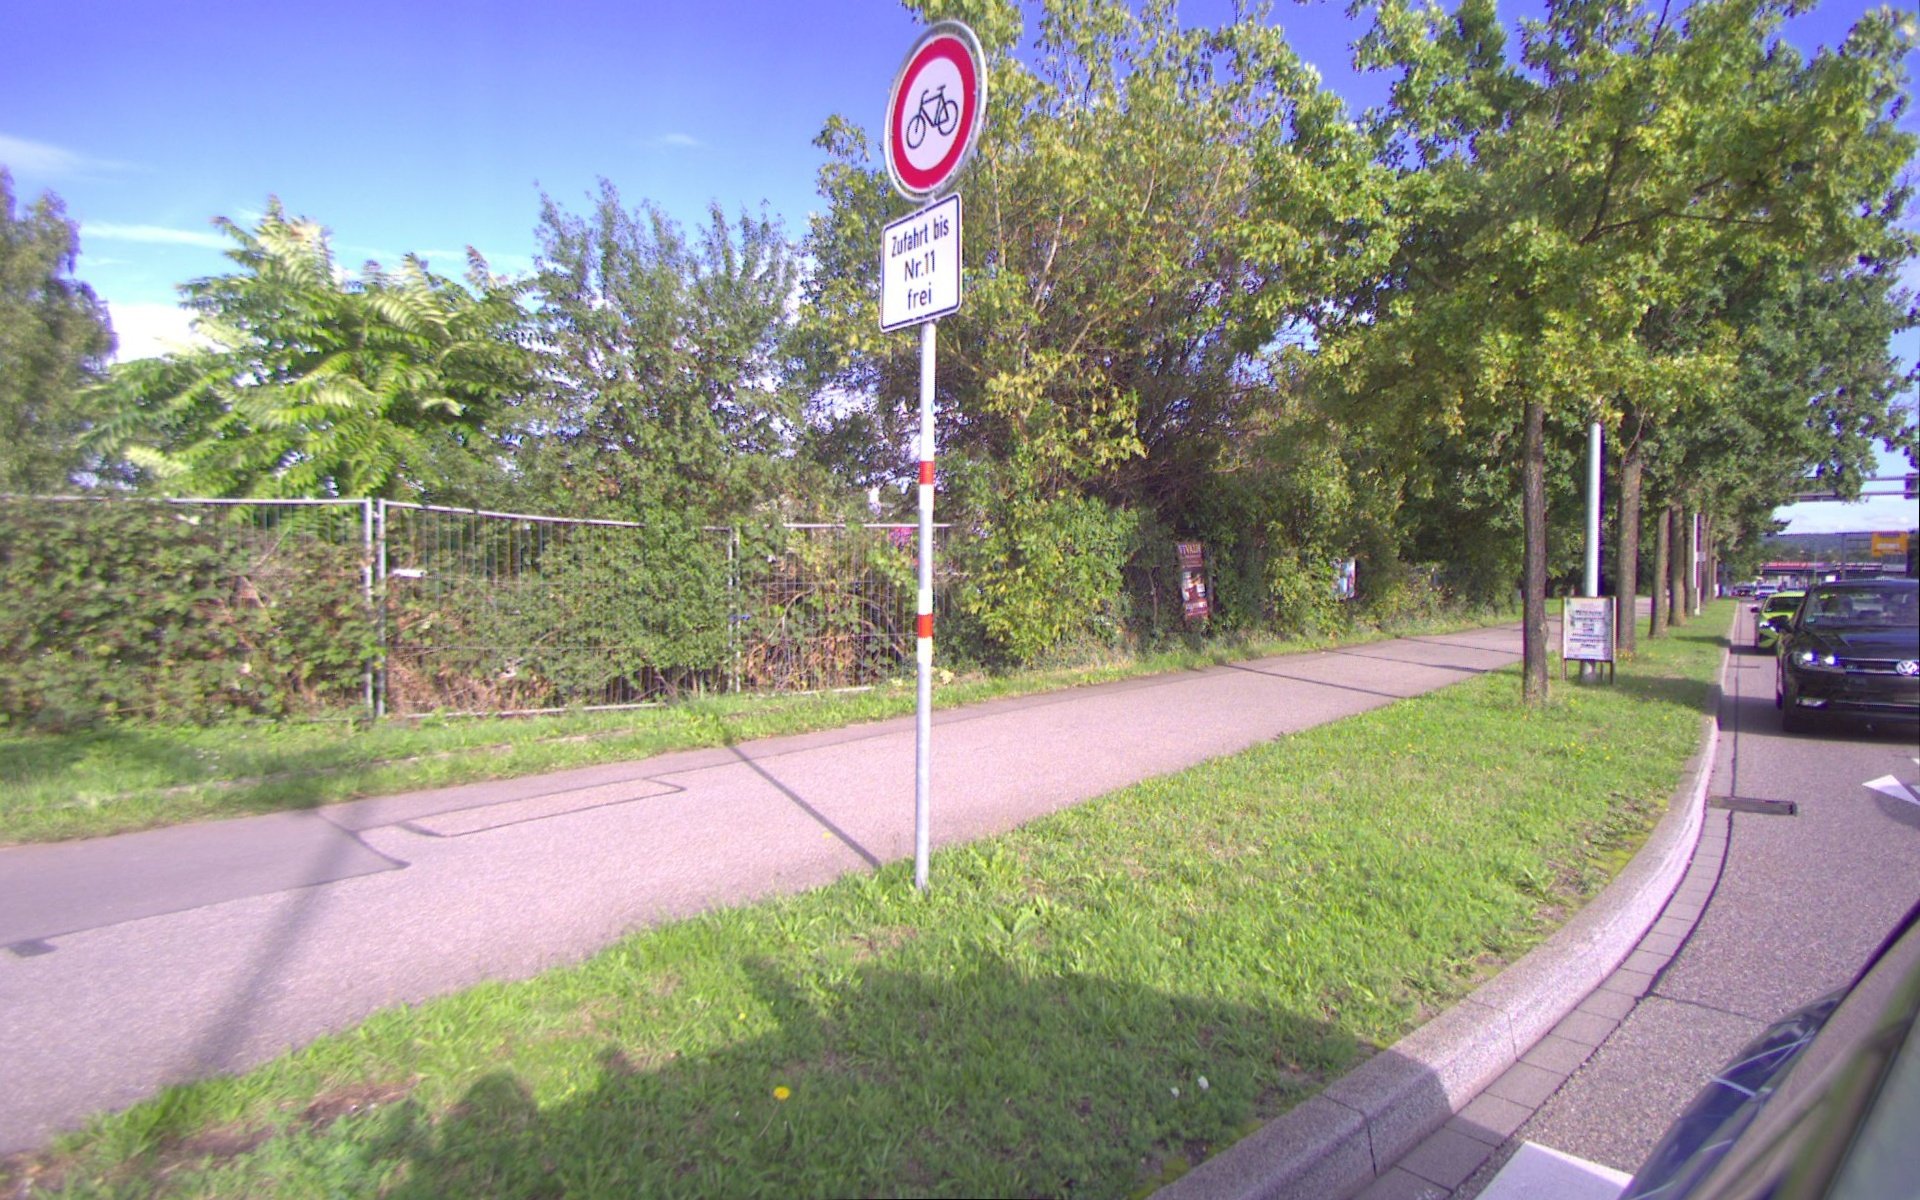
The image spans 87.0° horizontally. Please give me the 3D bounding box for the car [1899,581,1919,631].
[{"bbox_3d":[30.134,0.151,31.043,1.687,1.493,4.167,0,1,39],"label":"car"}]

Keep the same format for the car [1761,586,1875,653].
[{"bbox_3d":[20.505,0.388,24.339,1.887,1.438,4.545,0,1,38],"label":"car"}]

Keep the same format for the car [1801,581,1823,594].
[{"bbox_3d":[95.907,-1.472,113.908,1.729,1.407,3.945,2,2,38],"label":"car"}]

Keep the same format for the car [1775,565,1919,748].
[{"bbox_3d":[10.541,0.476,11.456,1.862,1.716,4.948,-2,0,37],"label":"car"}]

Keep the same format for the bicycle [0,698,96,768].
[{"bbox_3d":[-6.155,0.787,5.411,1.071,0.350,2.247,1,-1,4],"label":"bicycle"}]

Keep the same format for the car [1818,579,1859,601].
[{"bbox_3d":[69.151,-0.822,79.682,1.988,1.682,4.741,2,2,36],"label":"car"}]

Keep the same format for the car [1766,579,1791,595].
[{"bbox_3d":[76.193,-1.219,94.236,1.729,1.407,3.945,2,2,38],"label":"car"}]

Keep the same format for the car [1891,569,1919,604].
[{"bbox_3d":[49.719,-0.743,52.437,1.685,1.492,4.175,-1,5,36],"label":"car"}]
